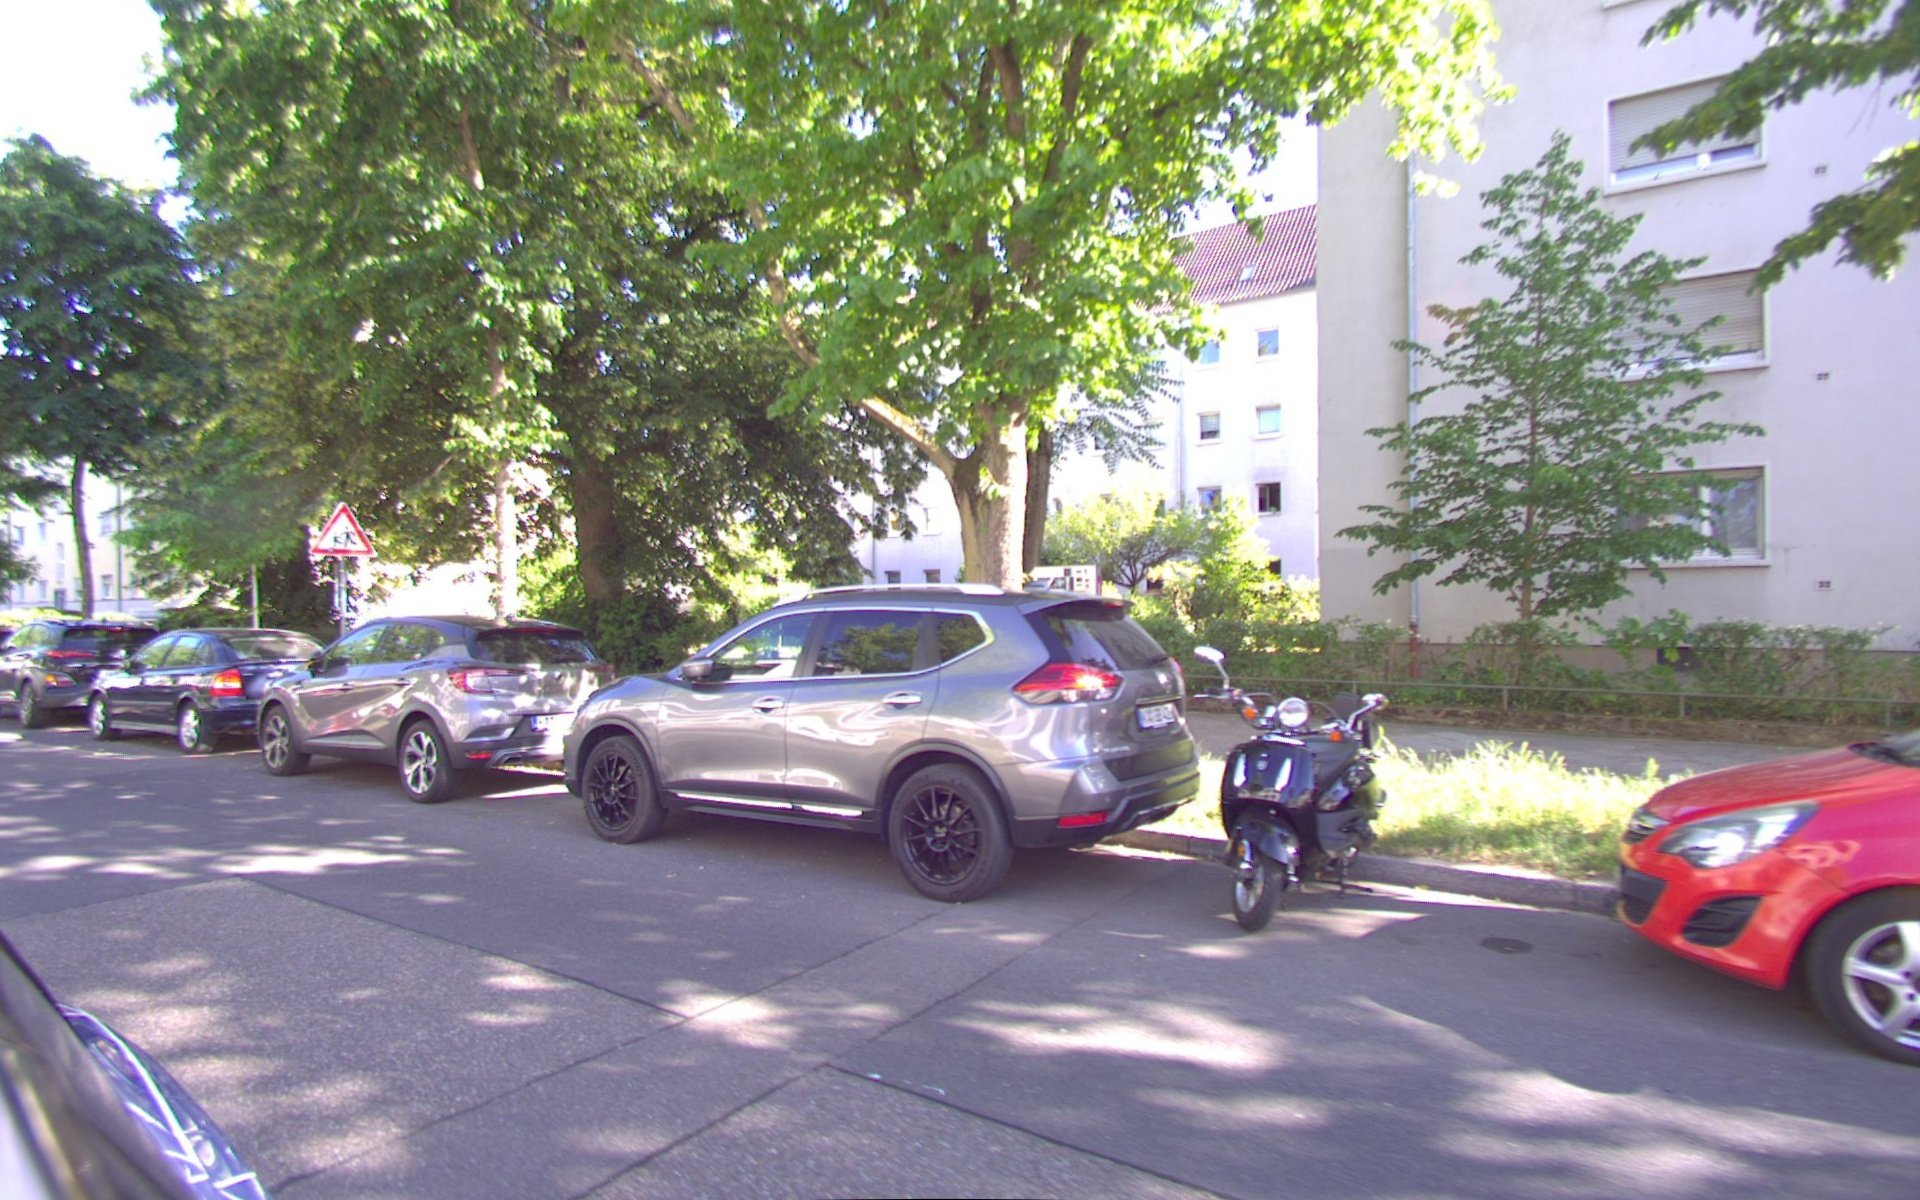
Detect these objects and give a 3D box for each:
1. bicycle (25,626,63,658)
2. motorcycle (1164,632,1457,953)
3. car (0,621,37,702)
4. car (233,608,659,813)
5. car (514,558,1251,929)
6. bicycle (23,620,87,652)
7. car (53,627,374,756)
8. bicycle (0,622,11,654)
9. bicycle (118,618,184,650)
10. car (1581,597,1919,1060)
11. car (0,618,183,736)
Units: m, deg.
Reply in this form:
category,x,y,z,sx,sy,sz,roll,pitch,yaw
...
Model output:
category,x,y,z,sx,sy,sz,roll,pitch,yaw
bicycle,-32.223,1.463,35.586,1.928,1.069,0.567,-1,0,35
motorcycle,1.918,0.858,5.346,0.787,1.342,1.933,-1,-1,41
car,-19.730,1.169,19.677,4.056,1.516,1.641,-1,-1,33
car,-5.019,0.875,9.668,4.408,1.543,1.754,-1,-1,35
car,-0.719,0.706,6.707,4.799,1.701,1.754,-1,-1,33
bicycle,-36.079,1.424,40.362,0.516,1.235,1.806,-1,0,34
car,-9.472,1.026,12.747,4.467,1.363,1.771,-1,-1,32
bicycle,-37.685,1.473,39.364,2.254,1.199,0.590,-1,-2,33
bicycle,-33.113,1.358,41.449,0.774,1.235,1.938,-1,0,31
car,4.546,0.713,3.351,4.171,1.481,1.841,-1,-1,34
car,-13.834,1.079,15.576,4.470,1.589,1.691,-1,-1,35
